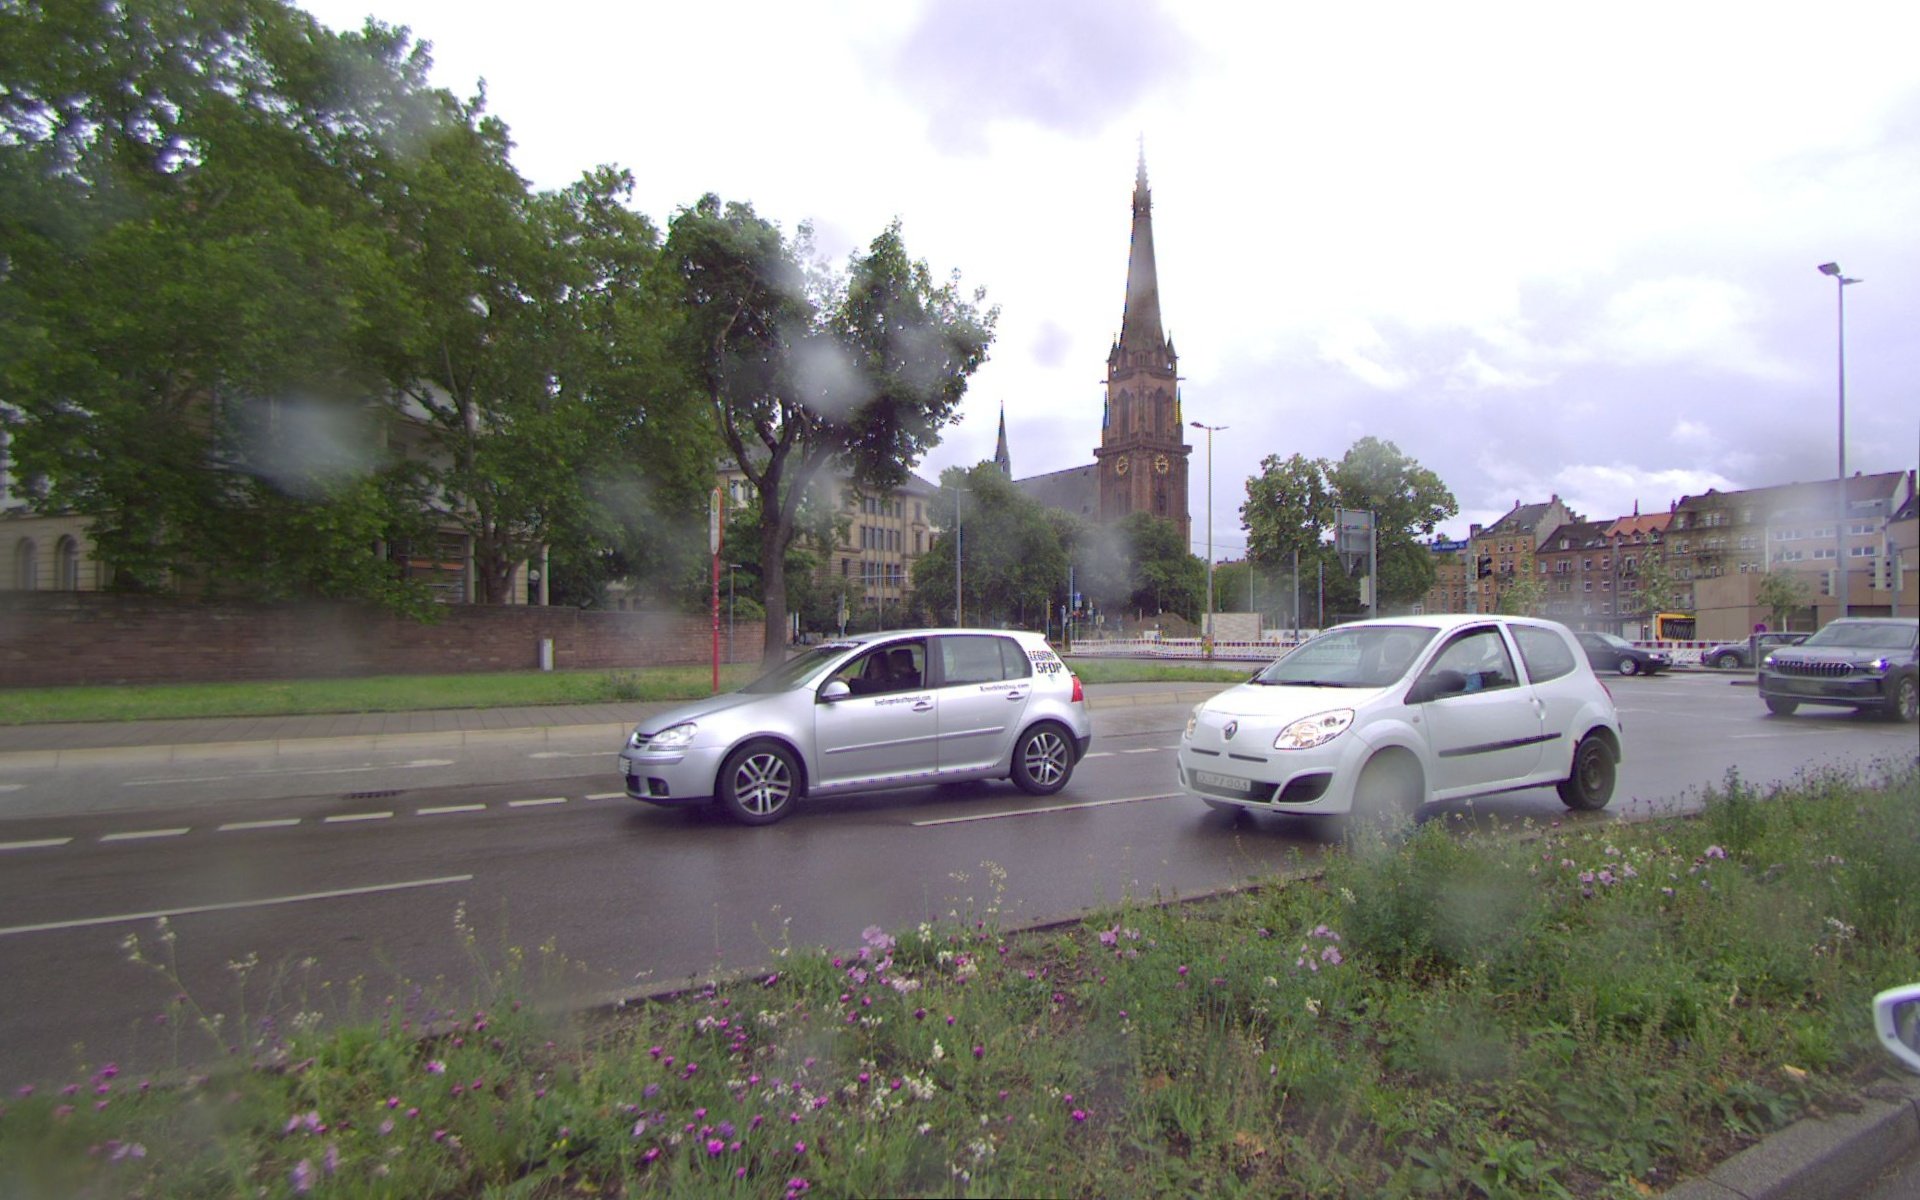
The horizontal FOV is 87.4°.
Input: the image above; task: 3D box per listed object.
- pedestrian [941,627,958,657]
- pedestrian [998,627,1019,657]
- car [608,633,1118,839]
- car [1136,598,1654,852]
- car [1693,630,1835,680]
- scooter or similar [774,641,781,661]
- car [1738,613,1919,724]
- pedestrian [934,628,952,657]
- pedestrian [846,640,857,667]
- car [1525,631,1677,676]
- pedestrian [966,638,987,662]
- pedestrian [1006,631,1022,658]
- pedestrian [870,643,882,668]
[{"bbox_3d":[-0.719,2.939,70.017,0.944,2.040,0.853,1,-1,-27],"label":"pedestrian"},{"bbox_3d":[3.397,2.946,70.266,0.982,2.040,1.304,-1,-2,36],"label":"pedestrian"},{"bbox_3d":[-0.773,1.009,8.736,4.107,1.423,1.672,1,-3,-29],"label":"car"},{"bbox_3d":[3.384,0.808,7.706,3.821,1.521,1.672,1,-3,-29],"label":"car"},{"bbox_3d":[29.090,1.955,36.487,3.749,1.728,1.709,-1,-1,27],"label":"car"},{"bbox_3d":[-10.429,2.894,57.421,0.274,1.096,1.078,0,-1,-1],"label":"scooter or similar"},{"bbox_3d":[15.515,1.117,17.022,4.545,1.657,1.986,1,-4,-28],"label":"car"},{"bbox_3d":[-1.201,2.973,70.794,0.944,2.040,0.853,1,-1,-27],"label":"pedestrian"},{"bbox_3d":[-7.763,3.813,71.699,0.596,1.915,0.601,1,-1,-33],"label":"pedestrian"},{"bbox_3d":[22.054,1.792,34.727,1.600,1.421,4.167,1,-2,-33],"label":"car"},{"bbox_3d":[1.115,3.376,67.599,0.918,1.560,1.057,-1,-2,36],"label":"pedestrian"},{"bbox_3d":[3.593,2.941,66.998,0.764,1.801,0.721,1,-1,-27],"label":"pedestrian"},{"bbox_3d":[-5.235,3.454,62.594,0.661,1.520,0.775,0,-1,2],"label":"pedestrian"}]
